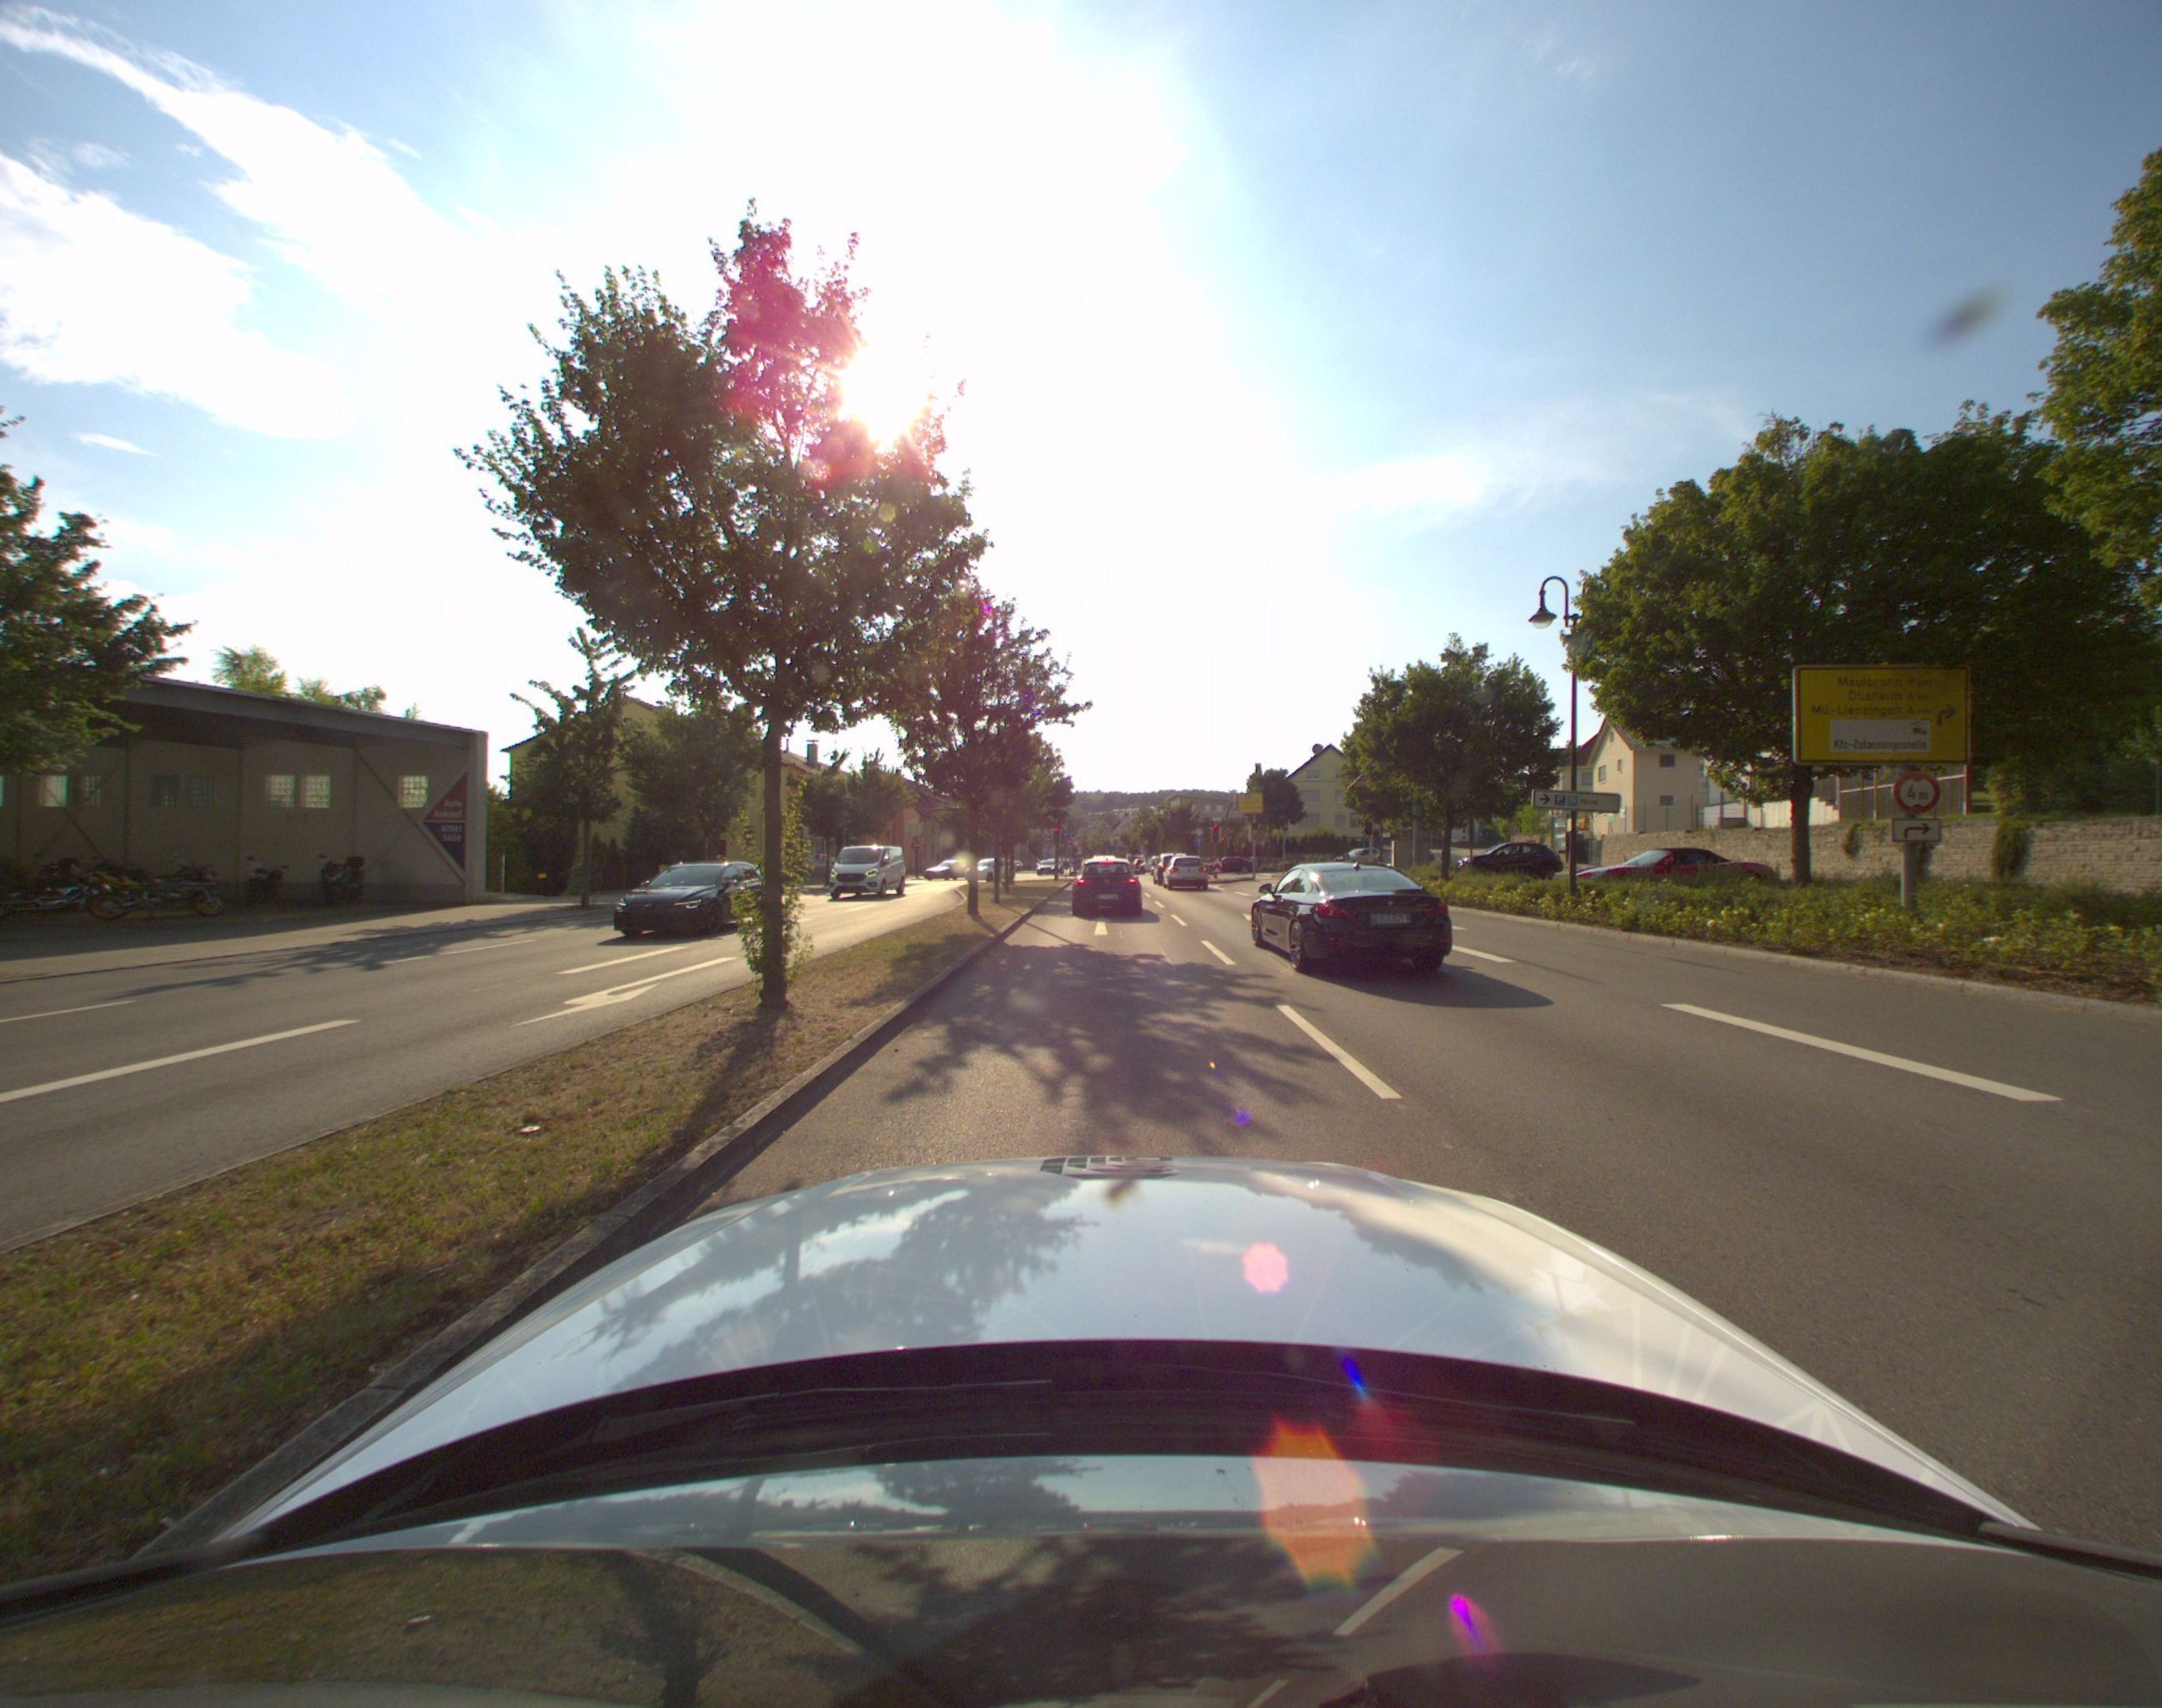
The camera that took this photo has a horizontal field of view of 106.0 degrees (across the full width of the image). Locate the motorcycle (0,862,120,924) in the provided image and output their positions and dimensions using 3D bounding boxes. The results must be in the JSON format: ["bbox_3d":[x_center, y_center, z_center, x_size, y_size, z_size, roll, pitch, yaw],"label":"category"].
[{"bbox_3d":[-23.339,0.858,18.317,0.556,1.330,2.168,-1,0,31],"label":"motorcycle"}]

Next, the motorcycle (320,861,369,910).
[{"bbox_3d":[-20.819,0.856,23.050,0.565,1.307,2.096,0,0,-29],"label":"motorcycle"}]

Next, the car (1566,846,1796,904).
[{"bbox_3d":[13.981,0.486,19.229,3.959,1.272,1.861,-1,0,13],"label":"car"}]

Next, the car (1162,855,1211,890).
[{"bbox_3d":[4.657,0.797,36.532,1.809,1.446,4.349,-1,0,3],"label":"car"}]

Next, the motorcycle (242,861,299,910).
[{"bbox_3d":[-22.905,0.861,23.050,0.565,1.307,2.071,0,0,-29],"label":"motorcycle"}]

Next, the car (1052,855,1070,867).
[{"bbox_3d":[-2.255,0.783,92.571,1.686,1.353,4.003,-1,0,3],"label":"car"}]

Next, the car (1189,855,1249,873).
[{"bbox_3d":[11.520,0.813,68.009,4.620,1.422,1.846,-1,0,-4],"label":"car"}]

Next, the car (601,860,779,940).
[{"bbox_3d":[-8.067,0.884,17.273,1.763,1.451,4.108,-1,0,0],"label":"car"}]

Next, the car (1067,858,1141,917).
[{"bbox_3d":[0.666,0.821,21.986,1.783,1.414,4.349,-1,0,3],"label":"car"}]

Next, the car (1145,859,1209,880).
[{"bbox_3d":[7.206,1.157,61.326,4.462,1.349,1.781,-1,3,-9],"label":"car"}]

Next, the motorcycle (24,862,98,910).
[{"bbox_3d":[-29.178,0.883,23.341,0.565,1.307,2.071,0,0,-29],"label":"motorcycle"}]

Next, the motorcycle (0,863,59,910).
[{"bbox_3d":[-30.783,0.914,23.680,0.565,1.307,2.071,0,0,-29],"label":"motorcycle"}]

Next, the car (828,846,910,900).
[{"bbox_3d":[-8.216,0.706,31.990,1.816,1.923,4.945,-1,0,1],"label":"car"}]

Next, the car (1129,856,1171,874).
[{"bbox_3d":[6.633,1.068,78.431,1.902,1.702,4.482,-2,-1,-28],"label":"car"}]

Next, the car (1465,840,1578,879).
[{"bbox_3d":[18.974,0.255,35.233,3.959,1.608,1.861,-1,0,13],"label":"car"}]

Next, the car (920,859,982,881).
[{"bbox_3d":[-9.313,1.144,58.761,1.670,1.462,4.741,-1,0,32],"label":"car"}]

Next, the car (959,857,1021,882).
[{"bbox_3d":[-5.810,0.985,52.422,1.783,1.497,3.981,-1,0,35],"label":"car"}]

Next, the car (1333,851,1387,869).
[{"bbox_3d":[24.377,0.498,71.089,4.672,1.485,1.850,0,0,-29],"label":"car"}]

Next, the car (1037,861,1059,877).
[{"bbox_3d":[-3.113,1.396,77.588,1.759,1.458,4.003,-1,0,3],"label":"car"}]

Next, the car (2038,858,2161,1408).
[{"bbox_3d":[3.616,0.720,0.298,1.737,1.442,4.170,-1,0,3],"label":"car"}]

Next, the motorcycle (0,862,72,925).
[{"bbox_3d":[-25.451,0.934,19.117,0.587,1.449,2.168,-1,0,31],"label":"motorcycle"}]

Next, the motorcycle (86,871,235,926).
[{"bbox_3d":[-20.890,0.978,18.535,0.623,1.124,2.168,-1,0,31],"label":"motorcycle"}]

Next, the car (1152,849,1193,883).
[{"bbox_3d":[4.755,0.599,42.699,1.809,1.666,4.349,-1,0,3],"label":"car"}]

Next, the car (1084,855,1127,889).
[{"bbox_3d":[1.133,0.782,36.882,1.809,1.451,4.244,-1,0,3],"label":"car"}]

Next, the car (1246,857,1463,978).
[{"bbox_3d":[3.620,0.751,11.646,1.809,1.388,4.349,-1,0,3],"label":"car"}]

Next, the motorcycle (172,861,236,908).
[{"bbox_3d":[-25.241,0.851,23.474,0.625,1.307,2.071,0,0,-29],"label":"motorcycle"}]

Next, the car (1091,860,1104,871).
[{"bbox_3d":[2.541,1.755,123.949,1.917,1.596,4.001,-1,0,1],"label":"car"}]

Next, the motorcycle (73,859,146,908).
[{"bbox_3d":[-27.064,0.787,22.728,0.585,1.307,2.071,0,0,-29],"label":"motorcycle"}]
